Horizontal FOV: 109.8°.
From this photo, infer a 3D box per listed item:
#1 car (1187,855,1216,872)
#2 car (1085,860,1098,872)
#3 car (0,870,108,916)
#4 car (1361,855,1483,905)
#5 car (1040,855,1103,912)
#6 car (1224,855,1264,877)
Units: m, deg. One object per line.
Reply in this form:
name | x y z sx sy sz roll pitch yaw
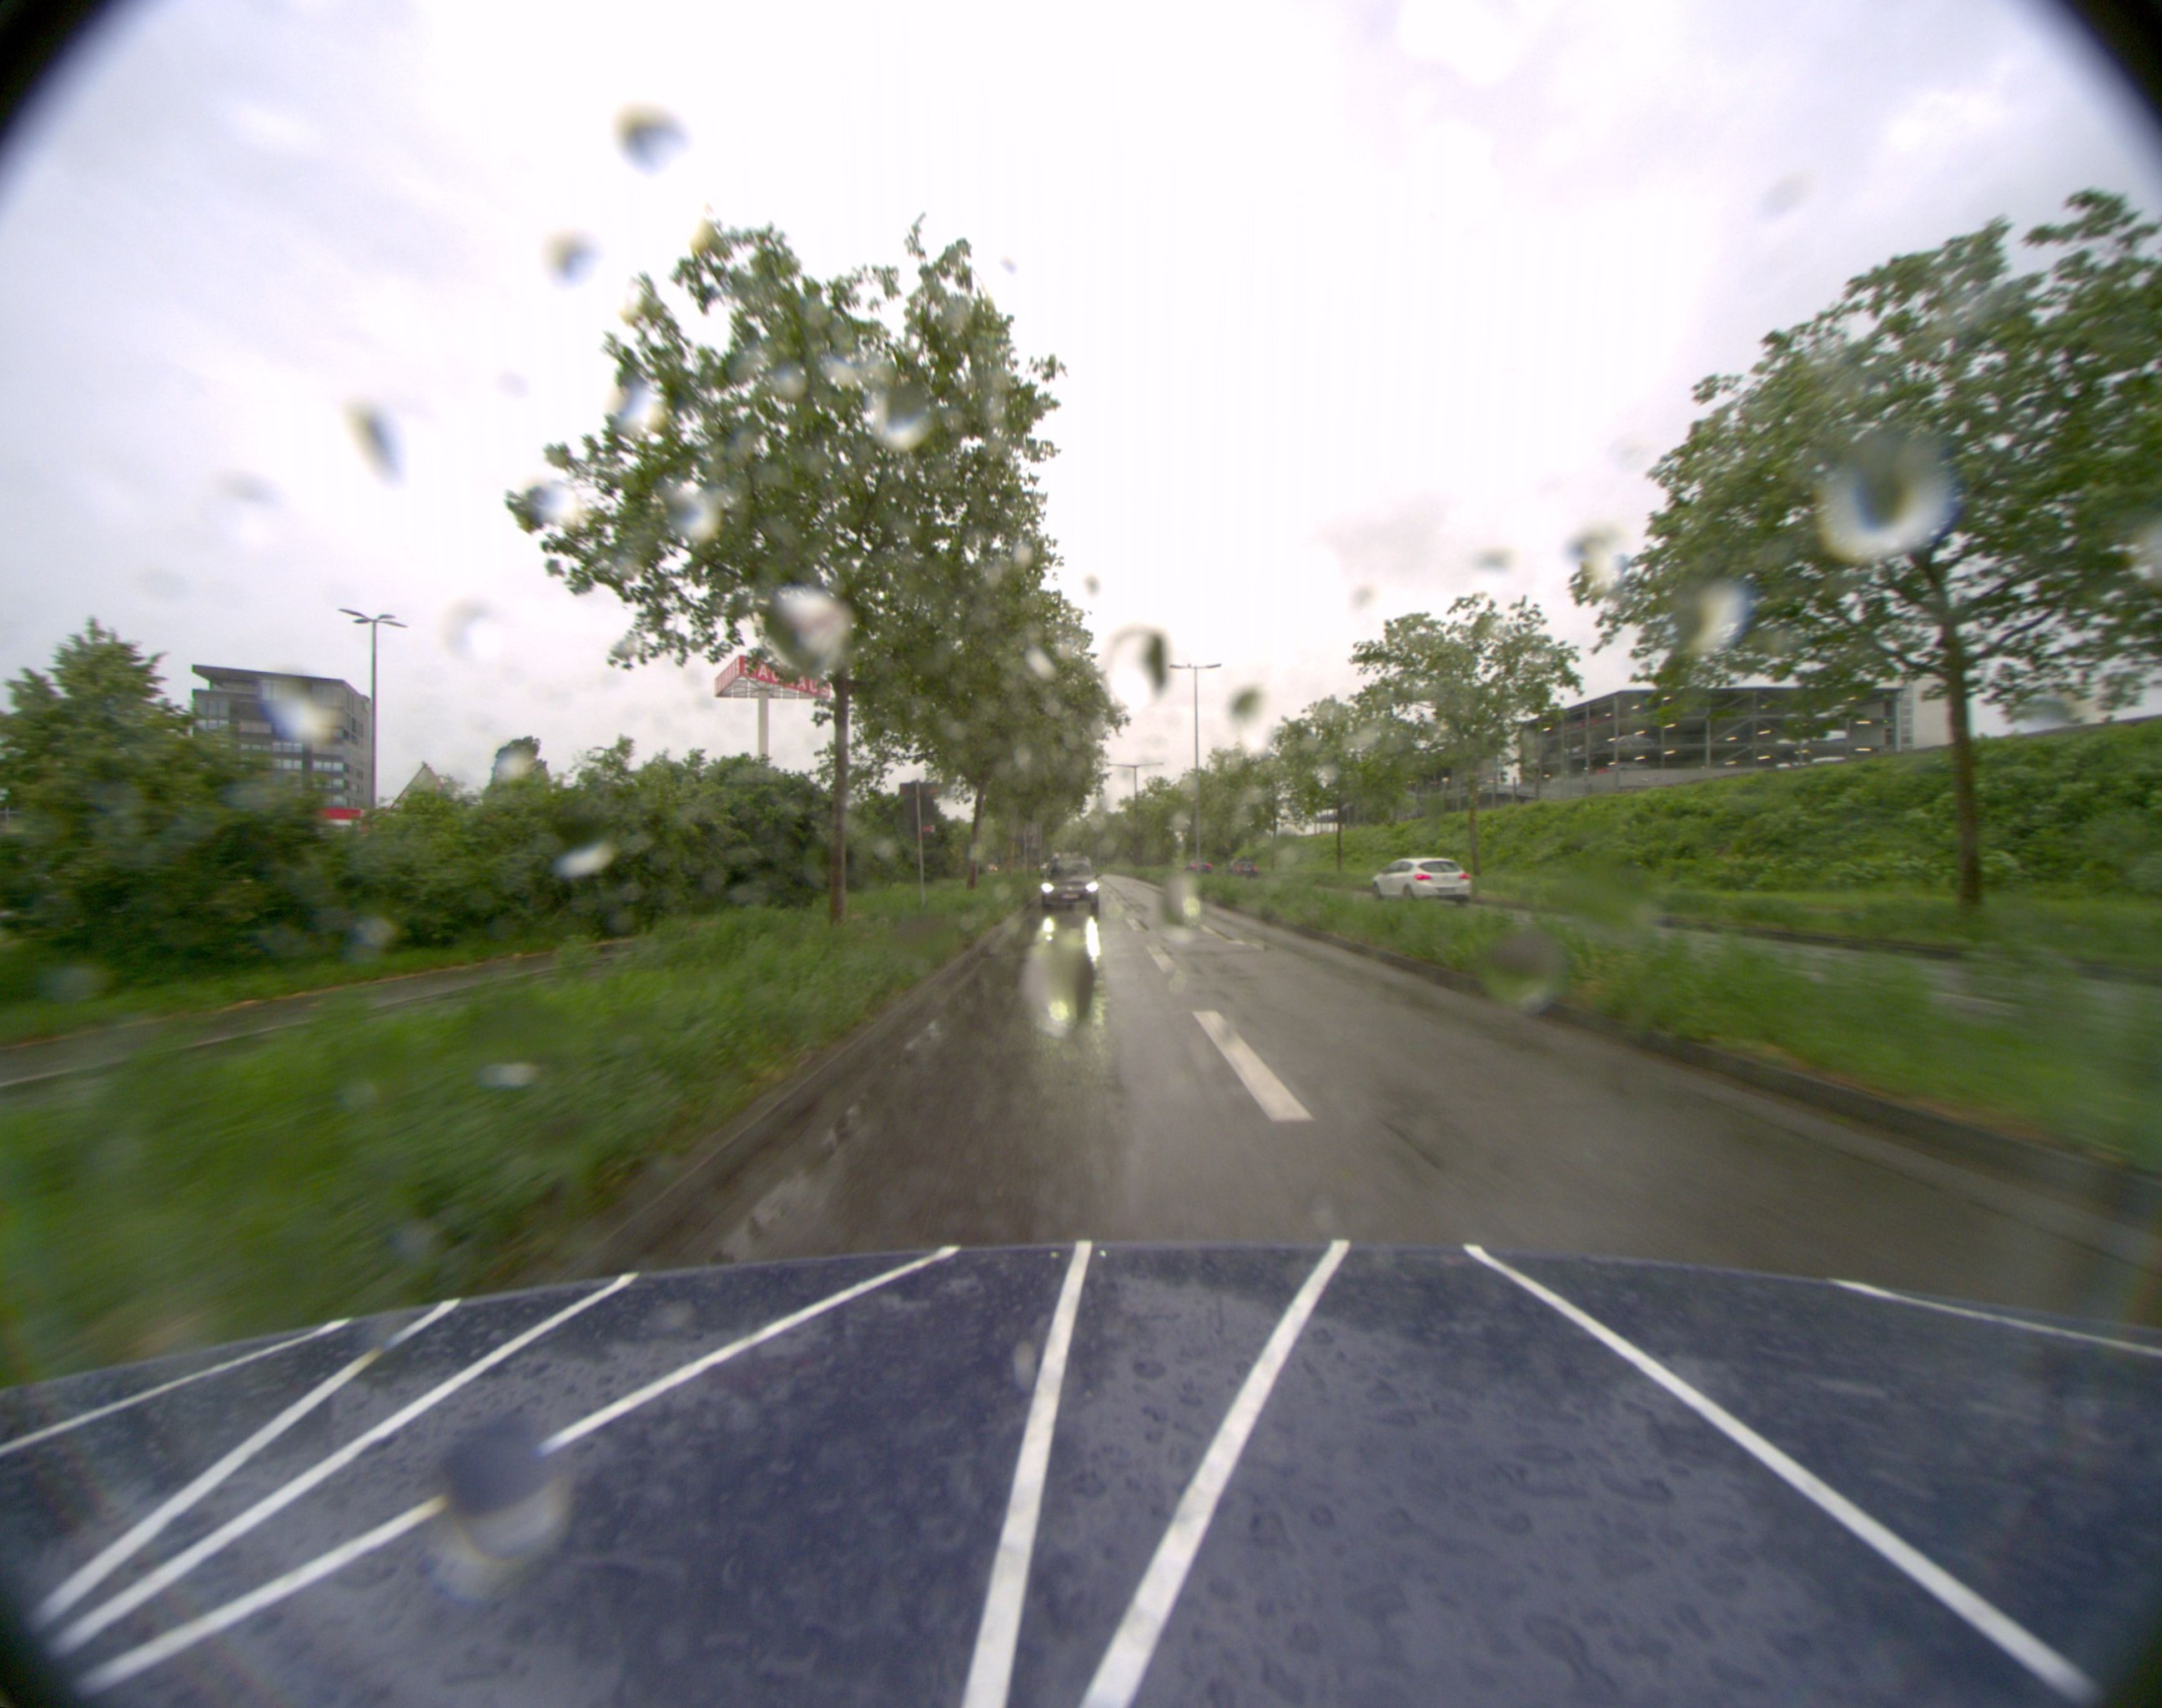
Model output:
car | 10.730 0.834 67.949 1.936 1.436 4.496 -1 0 0
car | 1.471 1.620 105.651 1.729 1.470 4.000 -3 0 1
car | -49.151 1.812 36.397 1.902 2.002 4.064 -2 0 -34
car | 10.980 0.782 24.888 1.936 1.436 4.657 -1 0 0
car | -0.222 0.903 25.390 1.788 1.605 4.717 -2 0 2
car | 11.007 0.775 51.517 1.936 1.436 3.707 -1 0 0
